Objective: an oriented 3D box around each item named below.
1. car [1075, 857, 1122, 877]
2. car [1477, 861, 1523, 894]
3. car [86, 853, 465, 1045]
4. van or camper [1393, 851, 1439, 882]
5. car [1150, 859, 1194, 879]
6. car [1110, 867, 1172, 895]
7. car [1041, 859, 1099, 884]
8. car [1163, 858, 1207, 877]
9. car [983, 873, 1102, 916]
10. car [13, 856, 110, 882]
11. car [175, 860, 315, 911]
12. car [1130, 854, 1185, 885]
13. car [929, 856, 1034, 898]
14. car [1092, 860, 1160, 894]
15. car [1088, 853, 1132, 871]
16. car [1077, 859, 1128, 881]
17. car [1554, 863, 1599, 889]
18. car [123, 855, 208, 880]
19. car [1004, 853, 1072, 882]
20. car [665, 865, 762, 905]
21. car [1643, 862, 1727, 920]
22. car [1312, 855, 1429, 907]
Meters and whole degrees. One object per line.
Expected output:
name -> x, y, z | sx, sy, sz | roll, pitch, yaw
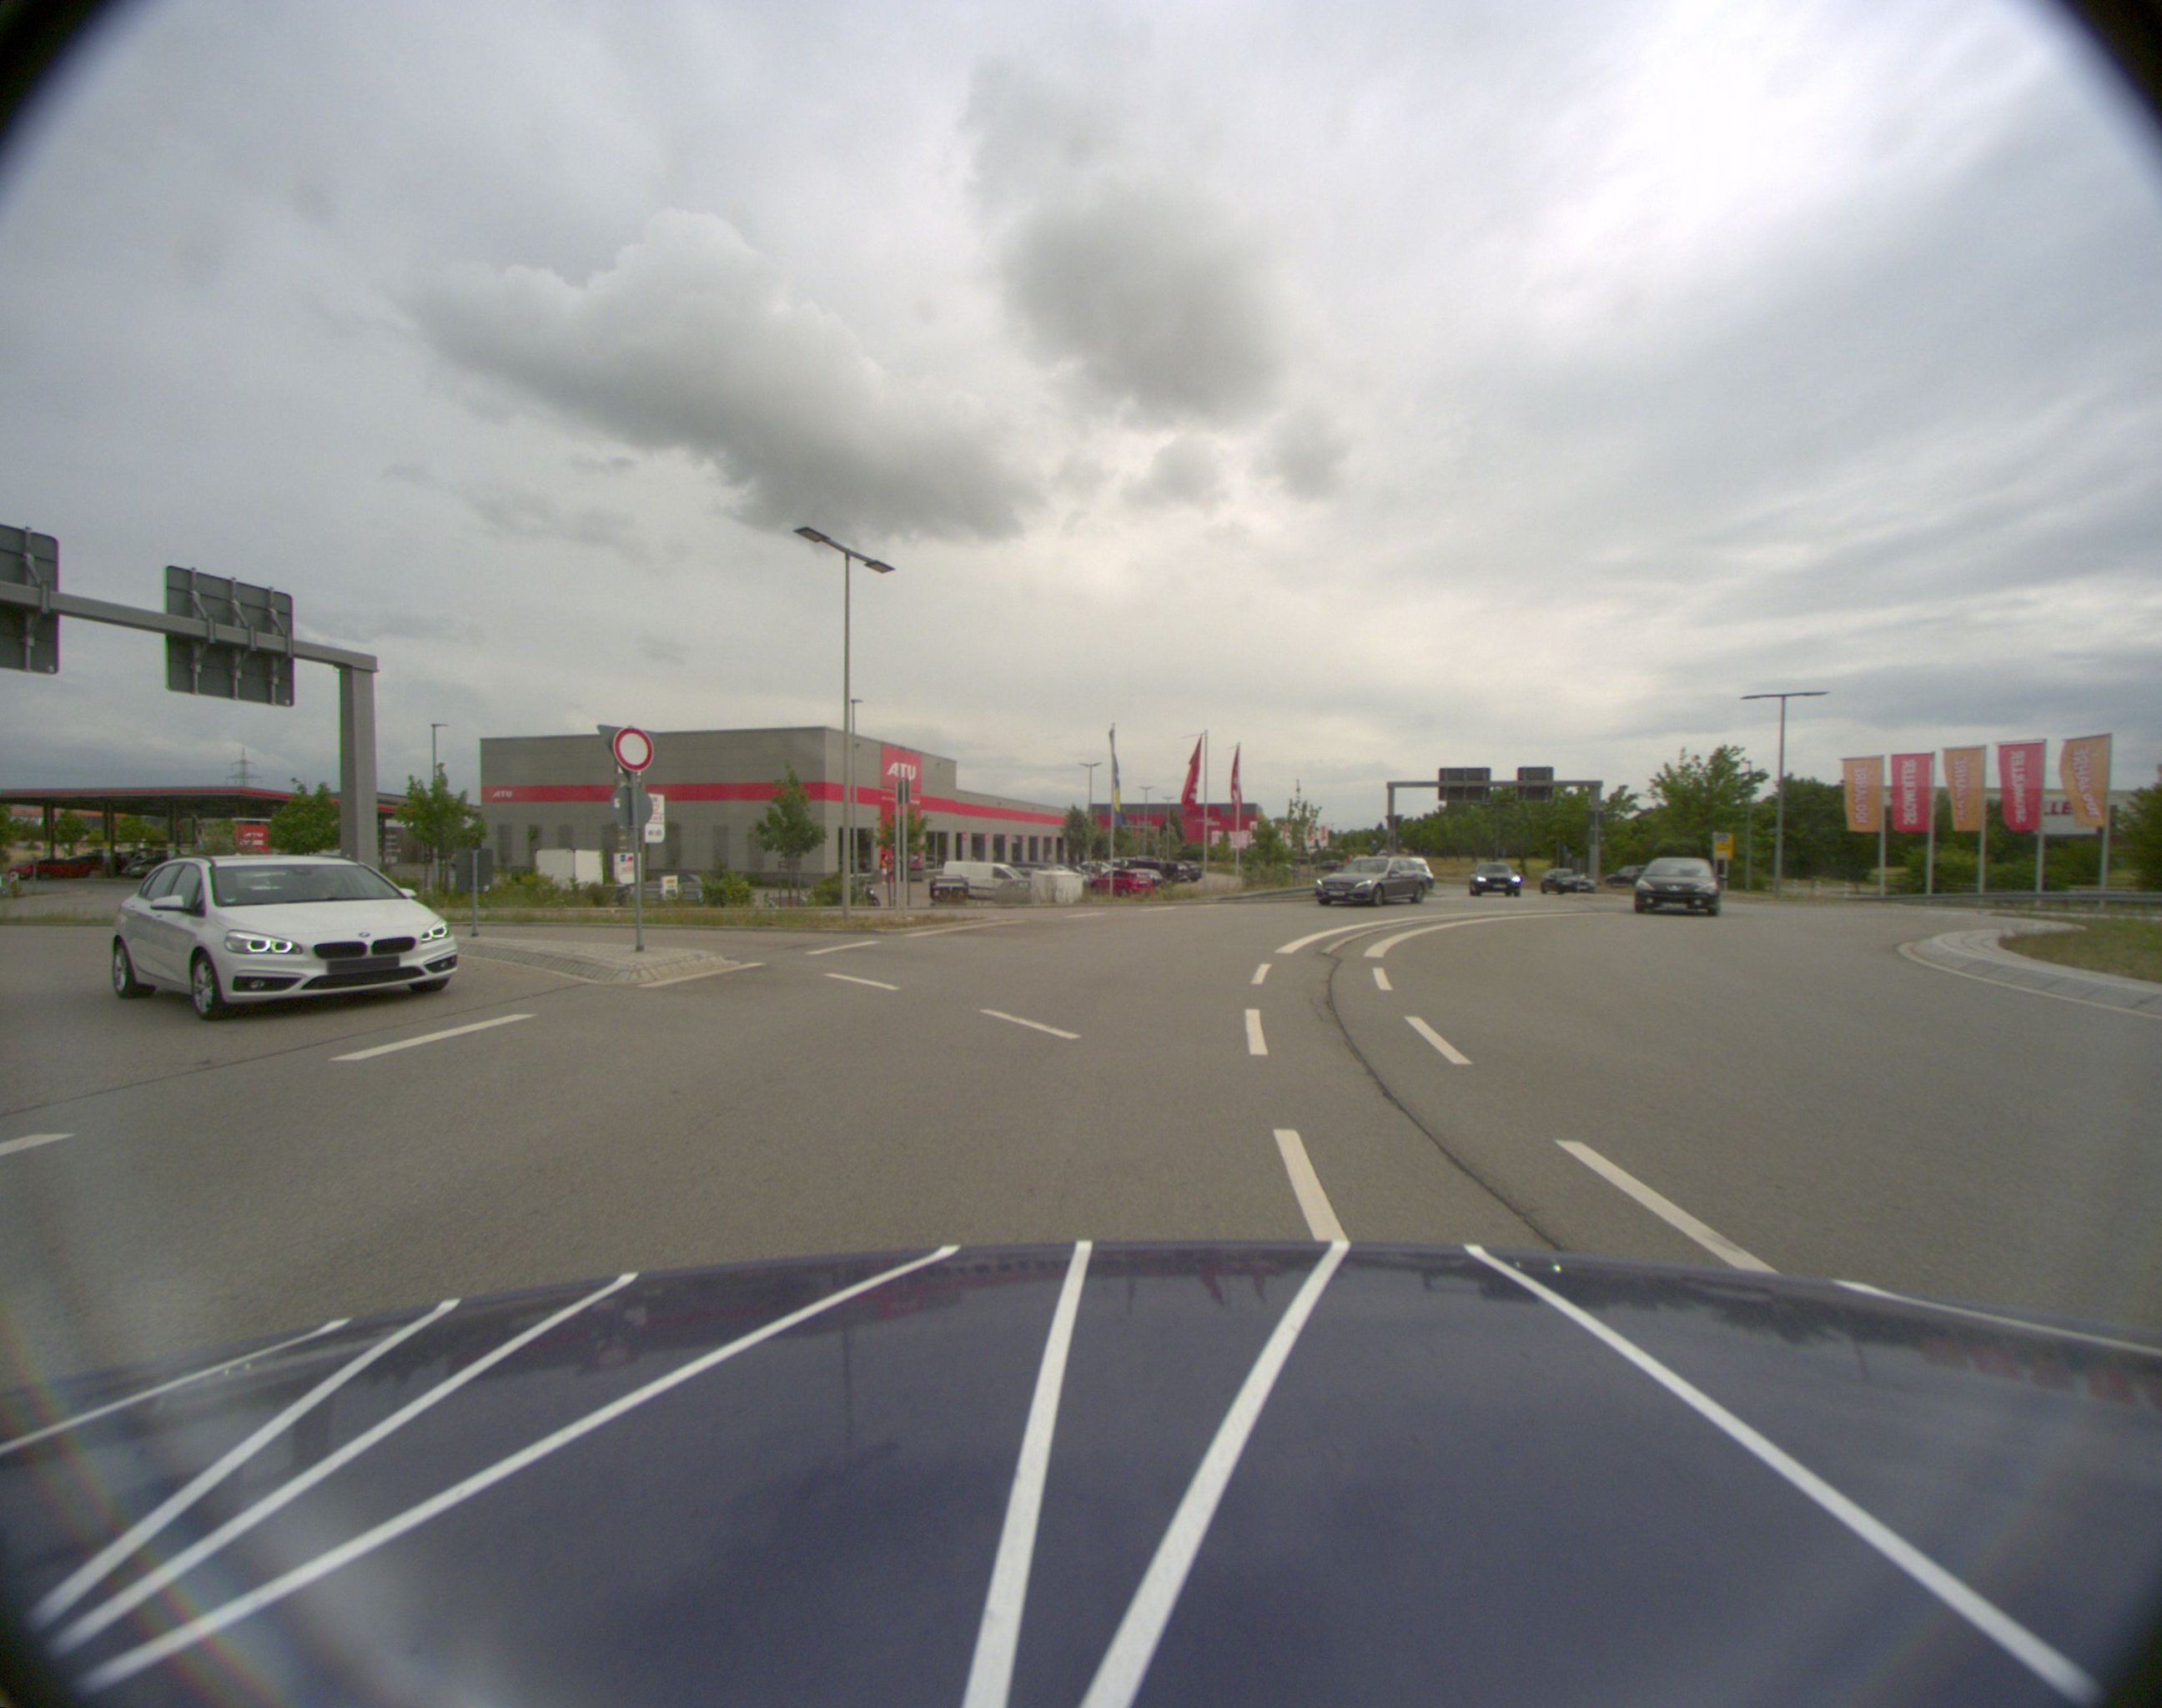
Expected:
car -> 1.493, 1.094, 64.606 | 3.693, 1.629, 1.592 | -1, 0, 12
car -> 20.133, 1.074, 36.559 | 1.856, 1.404, 4.565 | 0, 1, 28
car -> -8.892, 0.823, 8.321 | 4.415, 1.619, 1.787 | 0, 1, 29
van or camper -> 27.934, 0.993, 63.601 | 2.051, 2.350, 5.543 | 0, 1, 7
car -> 7.611, 1.225, 63.739 | 1.653, 1.612, 4.068 | 2, -1, -28
car -> 3.760, 1.679, 48.265 | 1.774, 1.570, 4.065 | 1, 1, -34
car -> -0.730, 1.180, 52.196 | 3.693, 1.629, 1.592 | -1, 0, 12
car -> 9.035, 1.175, 66.271 | 1.739, 1.612, 4.068 | 2, -2, -28
car -> -1.651, 1.745, 33.300 | 4.827, 1.666, 1.967 | 1, 1, 12
car -> -73.230, 1.085, 54.666 | 1.715, 1.783, 3.840 | -1, -1, 2
car -> -29.194, 1.095, 26.540 | 3.991, 1.565, 1.920 | -2, 1, 22
car -> 5.407, 1.060, 54.356 | 1.908, 1.898, 4.066 | -4, 4, -28
car -> -5.195, 1.174, 39.874 | 5.070, 2.035, 2.002 | 1, 1, 12
car -> 2.625, 1.345, 45.114 | 1.774, 1.571, 4.063 | -1, 5, -38
car -> 2.594, 0.716, 68.278 | 3.693, 1.536, 1.592 | -1, 0, 12
car -> 1.681, 1.230, 59.056 | 3.693, 1.629, 1.592 | -1, 0, 12
car -> 26.698, 1.160, 41.042 | 1.576, 1.261, 3.319 | 0, 1, 25
car -> -68.613, 1.013, 57.018 | 1.715, 1.783, 3.840 | -1, -1, 2
car -> -2.827, 0.886, 50.142 | 4.194, 1.825, 1.592 | -1, 0, 12
car -> -17.109, 1.406, 35.415 | 3.745, 1.565, 1.912 | -3, 1, -35
car -> 15.883, 0.895, 20.005 | 1.576, 1.346, 3.832 | 1, 0, 39
car -> 8.856, 0.775, 23.063 | 4.100, 1.412, 1.760 | 1, 1, -45
